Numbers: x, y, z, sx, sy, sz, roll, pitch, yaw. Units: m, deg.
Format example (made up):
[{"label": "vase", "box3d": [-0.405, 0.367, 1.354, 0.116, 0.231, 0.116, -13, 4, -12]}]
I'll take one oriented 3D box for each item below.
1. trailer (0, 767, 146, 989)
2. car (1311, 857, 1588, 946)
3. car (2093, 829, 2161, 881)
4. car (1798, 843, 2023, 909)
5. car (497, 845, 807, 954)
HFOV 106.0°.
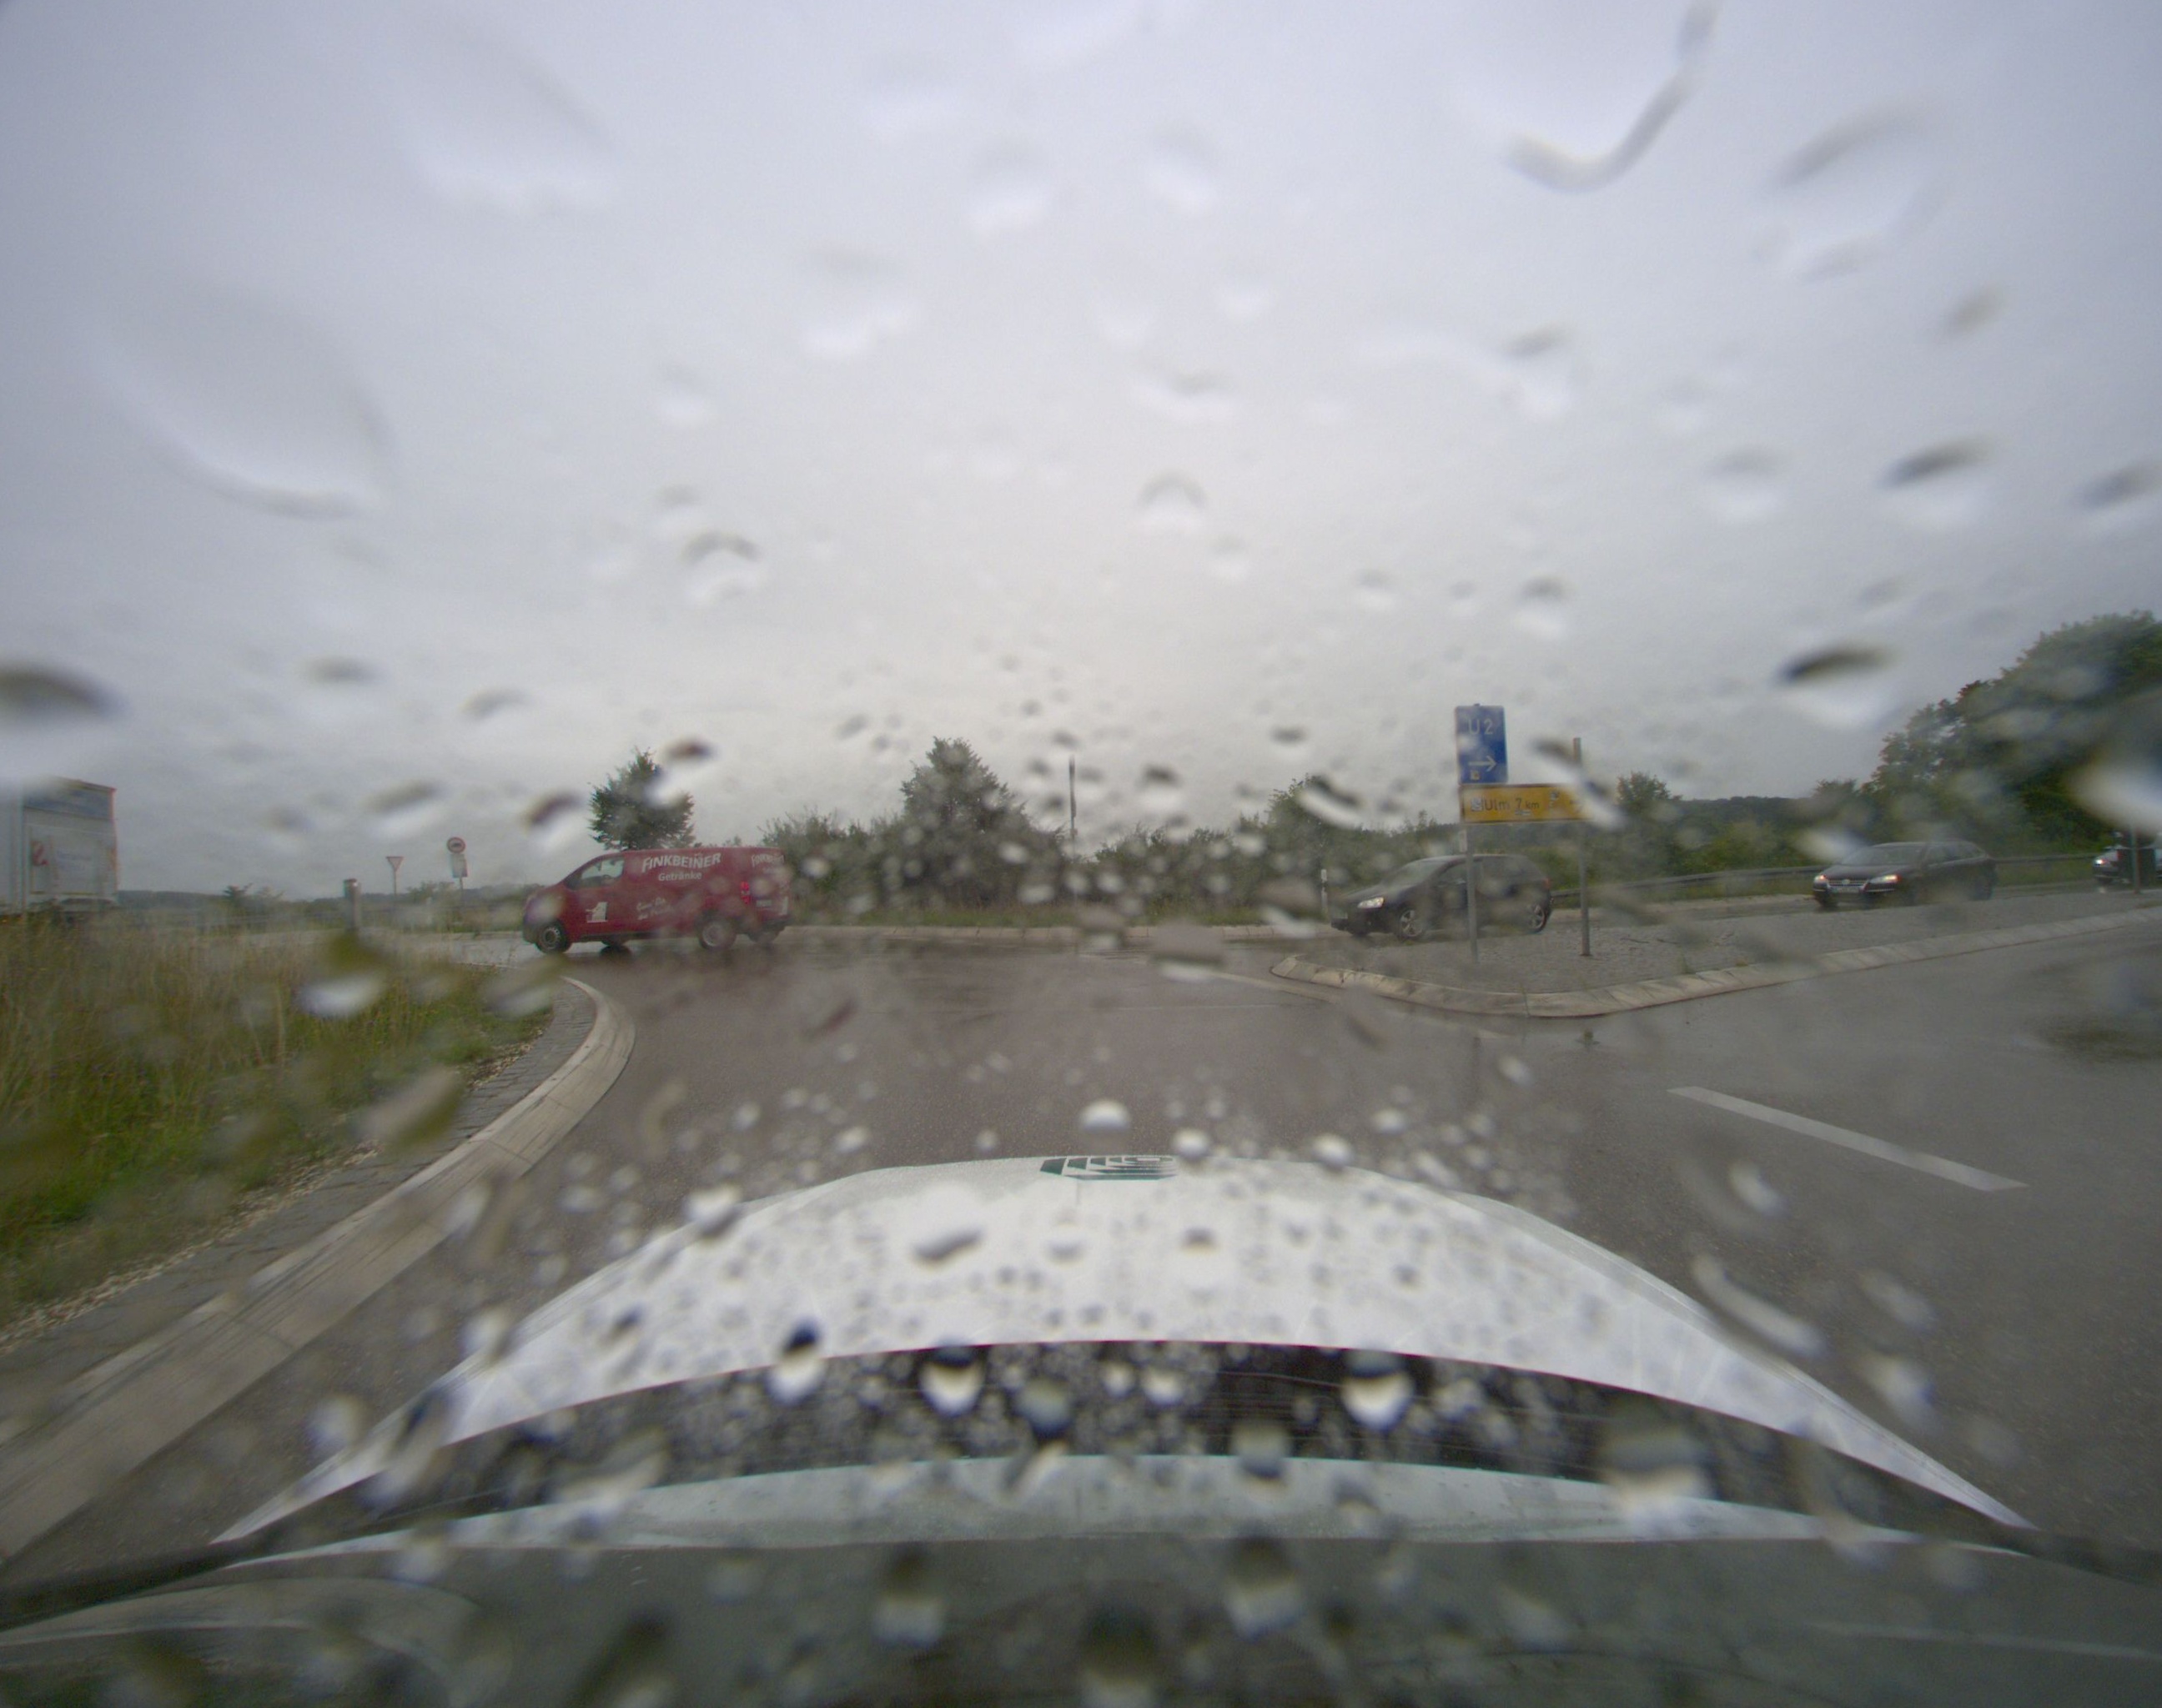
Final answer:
[{"label": "trailer", "box3d": [-23.112, 0.577, 13.401, 9.733, 3.819, 2.817, -2, -1, -26]}, {"label": "car", "box3d": [6.745, 0.802, 15.029, 4.495, 1.421, 1.865, -1, 0, -14]}, {"label": "car", "box3d": [31.898, 0.011, 23.820, 4.508, 1.421, 1.751, -1, -1, -23]}, {"label": "car", "box3d": [19.052, 0.459, 18.723, 4.503, 1.371, 1.937, -1, 0, -20]}, {"label": "car", "box3d": [-8.148, 0.843, 15.737, 4.938, 1.870, 2.003, -2, -1, 5]}]
